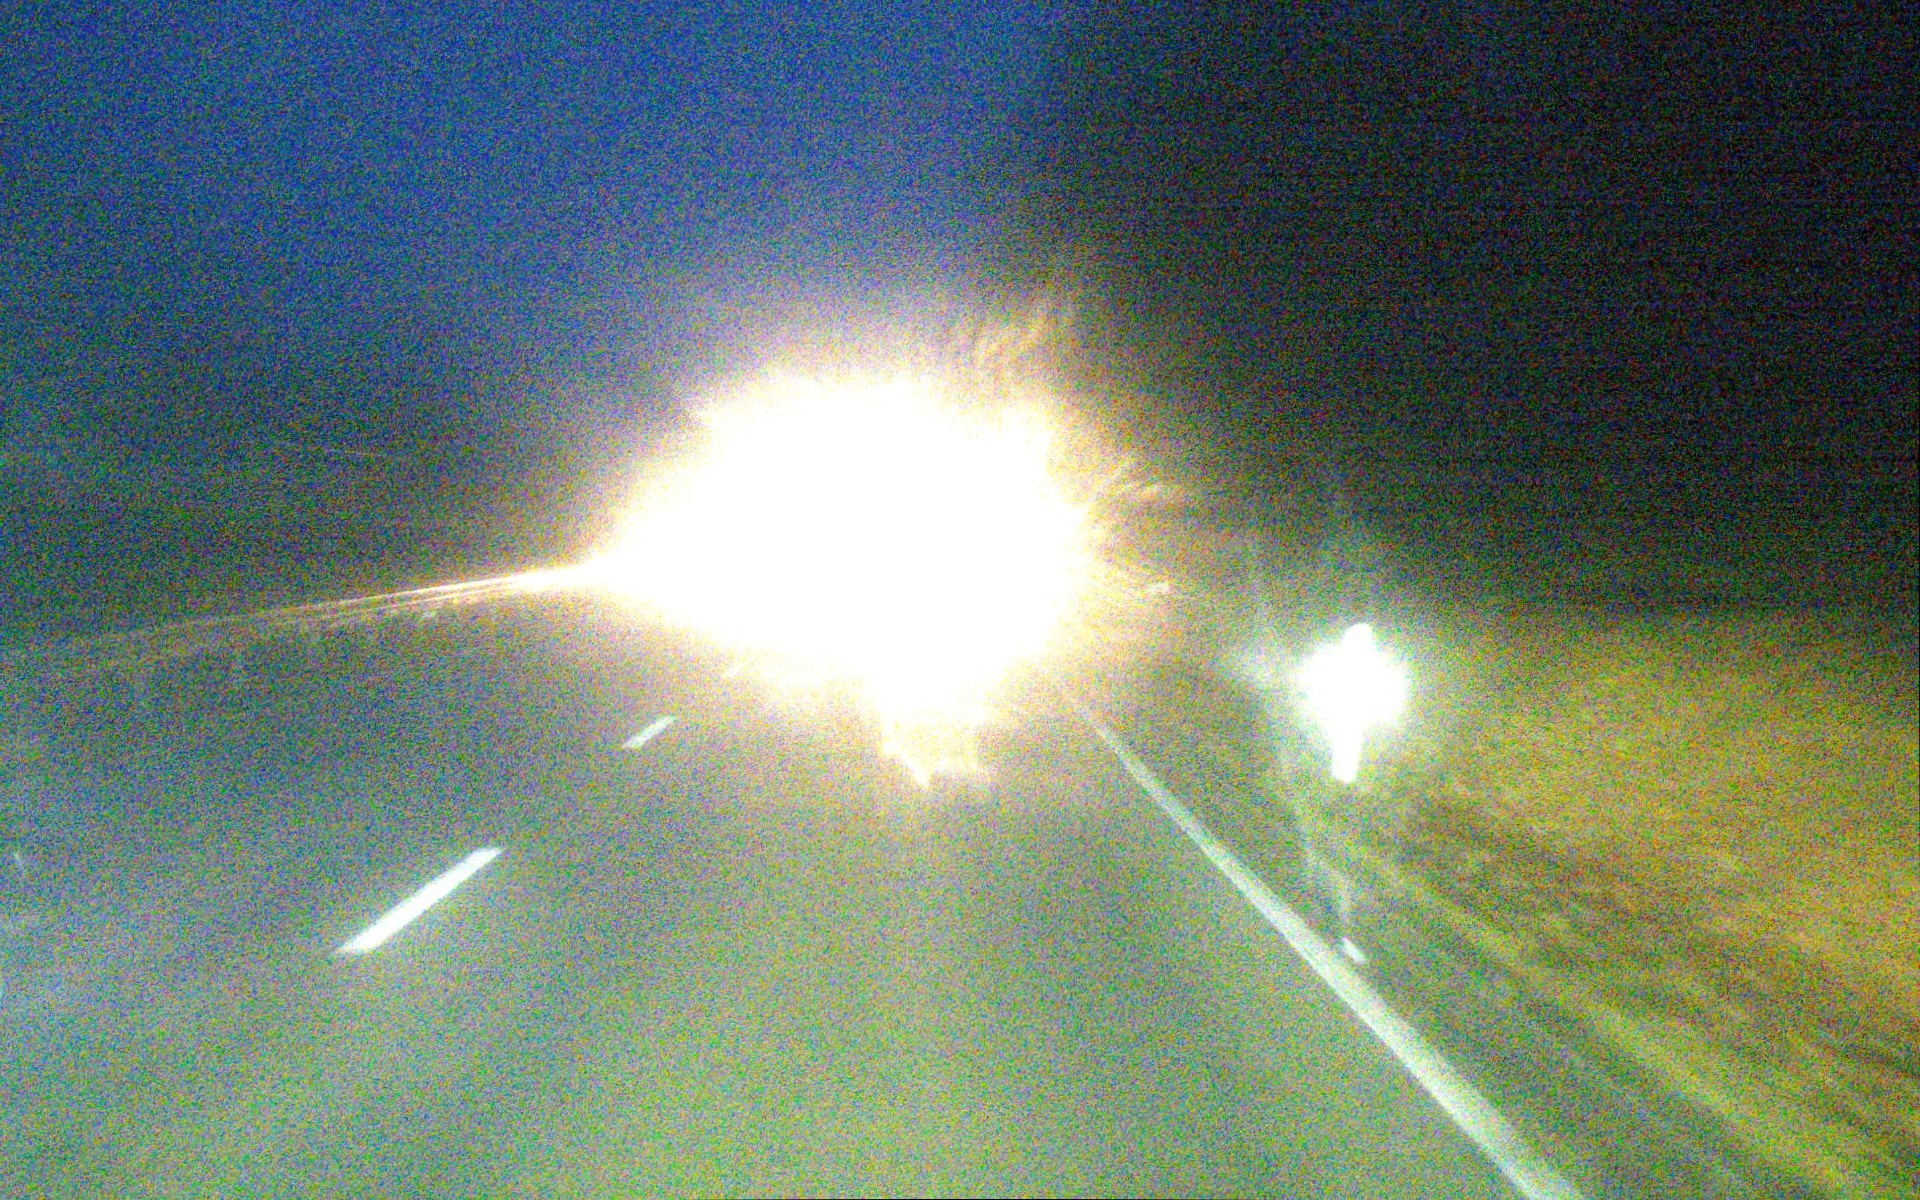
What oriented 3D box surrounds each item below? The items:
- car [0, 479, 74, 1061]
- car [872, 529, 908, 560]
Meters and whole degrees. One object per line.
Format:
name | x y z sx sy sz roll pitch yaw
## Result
car | -3.736 0.522 8.230 2.097 1.633 4.456 -1 1 -1
car | -3.924 -3.114 193.071 1.993 1.660 4.000 -1 1 -1
